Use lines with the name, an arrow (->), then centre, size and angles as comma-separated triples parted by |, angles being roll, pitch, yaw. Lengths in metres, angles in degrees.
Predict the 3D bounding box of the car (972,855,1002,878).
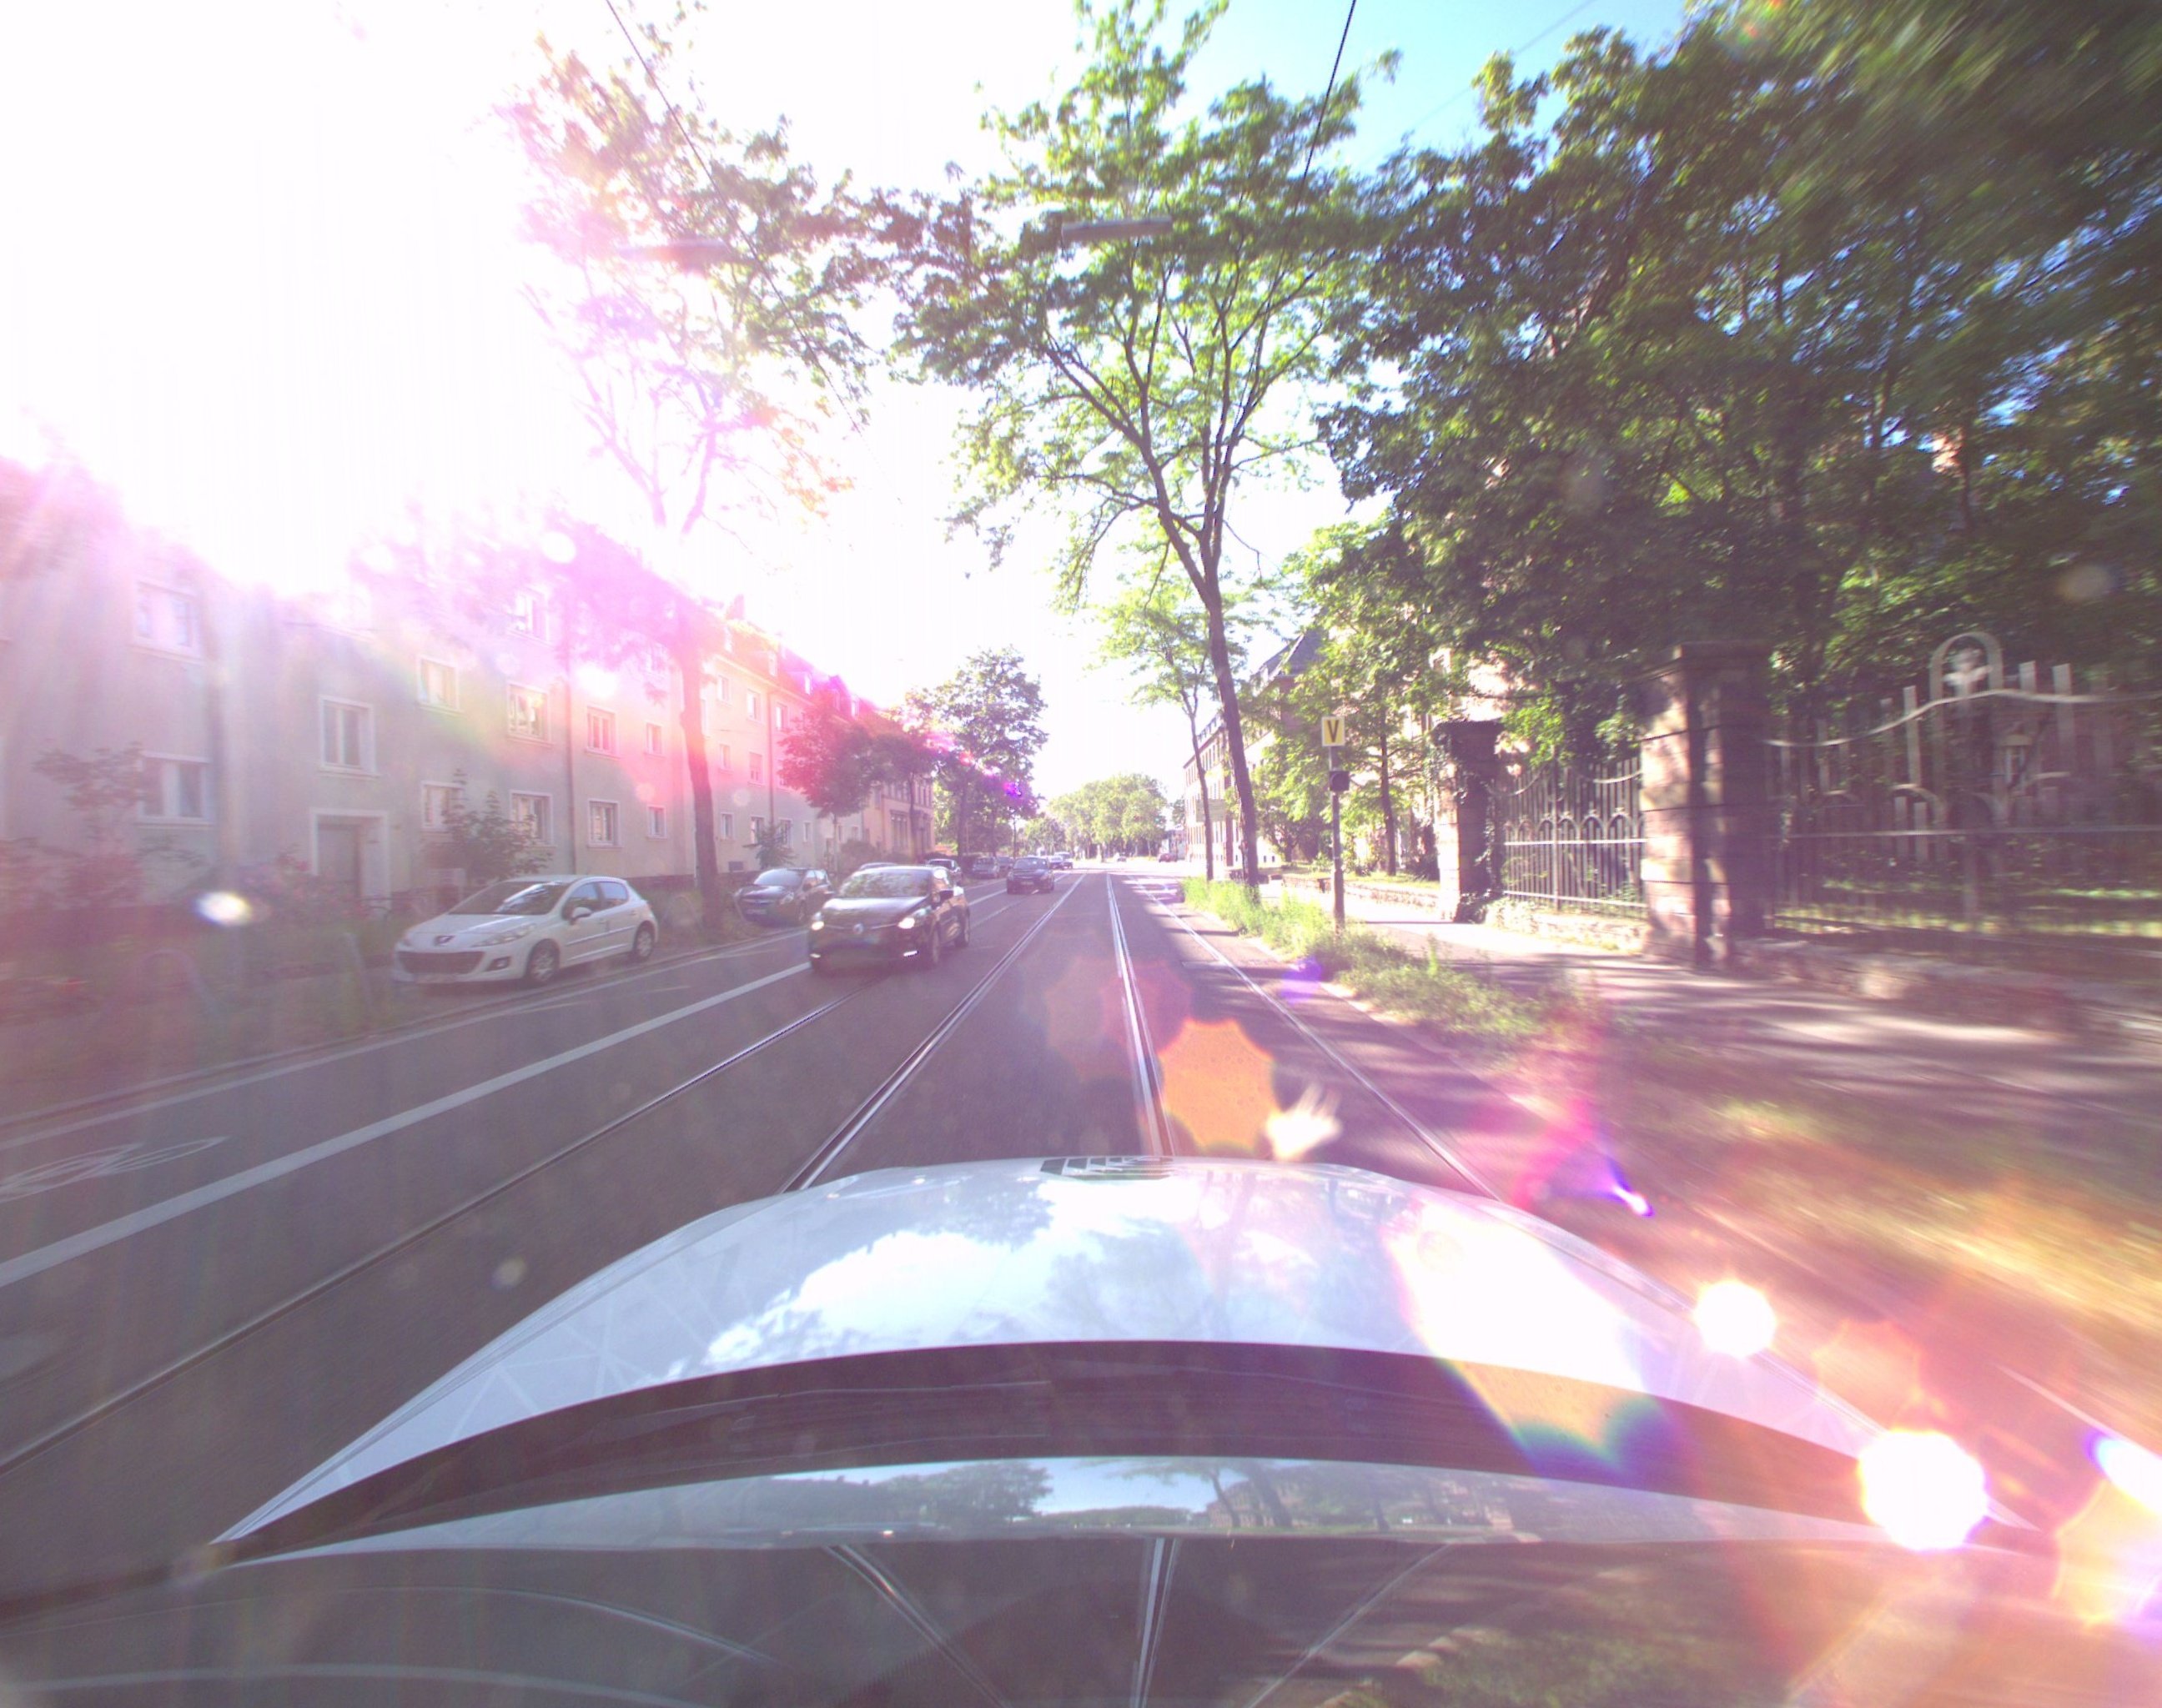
car -> -6.730, 0.909, 58.921 | 1.740, 1.569, 4.067 | 1, 0, -1

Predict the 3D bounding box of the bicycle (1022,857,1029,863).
bicycle -> -8.999, 0.976, 133.011 | 0.750, 1.087, 2.167 | -1, 0, -13

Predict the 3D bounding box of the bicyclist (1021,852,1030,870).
bicyclist -> -4.440, 0.558, 65.186 | 0.556, 1.456, 0.869 | -5, 0, -2

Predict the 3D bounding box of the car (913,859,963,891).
car -> -7.284, 1.027, 41.837 | 1.739, 1.490, 4.323 | 1, 0, 0

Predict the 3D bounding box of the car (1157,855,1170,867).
car -> 12.074, 0.946, 118.698 | 1.829, 1.655, 3.586 | -2, 0, 7

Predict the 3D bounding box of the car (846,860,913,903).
car -> -7.546, 0.999, 30.841 | 1.555, 1.457, 3.929 | 1, 0, -1

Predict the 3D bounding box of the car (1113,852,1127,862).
car -> 6.943, 0.532, 145.323 | 1.939, 1.610, 3.994 | -2, 0, -4

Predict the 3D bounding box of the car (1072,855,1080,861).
car -> -1.290, 0.994, 205.395 | 1.939, 1.610, 3.994 | -2, 0, -4

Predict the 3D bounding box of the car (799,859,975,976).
car -> -2.772, 0.836, 12.570 | 1.694, 1.439, 4.071 | -1, 0, 0

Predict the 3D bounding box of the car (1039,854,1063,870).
car -> -2.916, 0.764, 78.418 | 1.809, 1.387, 4.427 | -2, 0, -9

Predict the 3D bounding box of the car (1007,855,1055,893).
car -> -2.057, 0.782, 34.157 | 1.694, 1.471, 4.071 | -1, 0, 0

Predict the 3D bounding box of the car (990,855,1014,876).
car -> -6.557, 0.919, 67.653 | 1.741, 1.660, 4.386 | 1, 0, -3

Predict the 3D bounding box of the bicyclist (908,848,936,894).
bicyclist -> -5.690, 0.598, 29.229 | 0.707, 1.607, 0.865 | -4, 0, 1

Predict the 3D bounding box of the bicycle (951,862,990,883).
bicycle -> -6.711, 1.108, 49.388 | 2.272, 1.198, 0.561 | 1, 1, 8

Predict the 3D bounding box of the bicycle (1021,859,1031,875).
bicycle -> -4.389, 1.046, 65.002 | 0.556, 1.198, 2.291 | -5, 0, -1

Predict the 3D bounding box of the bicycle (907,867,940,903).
bicycle -> -5.654, 1.086, 29.279 | 0.692, 1.177, 1.914 | -4, 0, 2

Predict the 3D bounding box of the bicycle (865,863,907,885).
bicycle -> -11.270, 1.155, 47.044 | 2.272, 1.198, 0.561 | 1, 1, 8

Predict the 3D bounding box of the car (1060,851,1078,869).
car -> -1.303, 0.655, 91.299 | 1.803, 1.888, 4.442 | -2, 0, 2

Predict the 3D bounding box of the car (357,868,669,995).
car -> -8.119, 1.004, 12.202 | 1.696, 1.485, 4.080 | 1, 0, 1

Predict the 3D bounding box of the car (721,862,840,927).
car -> -7.781, 0.988, 21.471 | 1.681, 1.485, 3.760 | 1, 0, 0

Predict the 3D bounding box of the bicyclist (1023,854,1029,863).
bicyclist -> -8.993, 0.771, 132.964 | 0.750, 1.504, 0.960 | -1, 0, -14

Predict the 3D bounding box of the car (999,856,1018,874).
car -> -6.433, 0.978, 72.498 | 1.578, 1.488, 3.609 | 1, 0, -3
